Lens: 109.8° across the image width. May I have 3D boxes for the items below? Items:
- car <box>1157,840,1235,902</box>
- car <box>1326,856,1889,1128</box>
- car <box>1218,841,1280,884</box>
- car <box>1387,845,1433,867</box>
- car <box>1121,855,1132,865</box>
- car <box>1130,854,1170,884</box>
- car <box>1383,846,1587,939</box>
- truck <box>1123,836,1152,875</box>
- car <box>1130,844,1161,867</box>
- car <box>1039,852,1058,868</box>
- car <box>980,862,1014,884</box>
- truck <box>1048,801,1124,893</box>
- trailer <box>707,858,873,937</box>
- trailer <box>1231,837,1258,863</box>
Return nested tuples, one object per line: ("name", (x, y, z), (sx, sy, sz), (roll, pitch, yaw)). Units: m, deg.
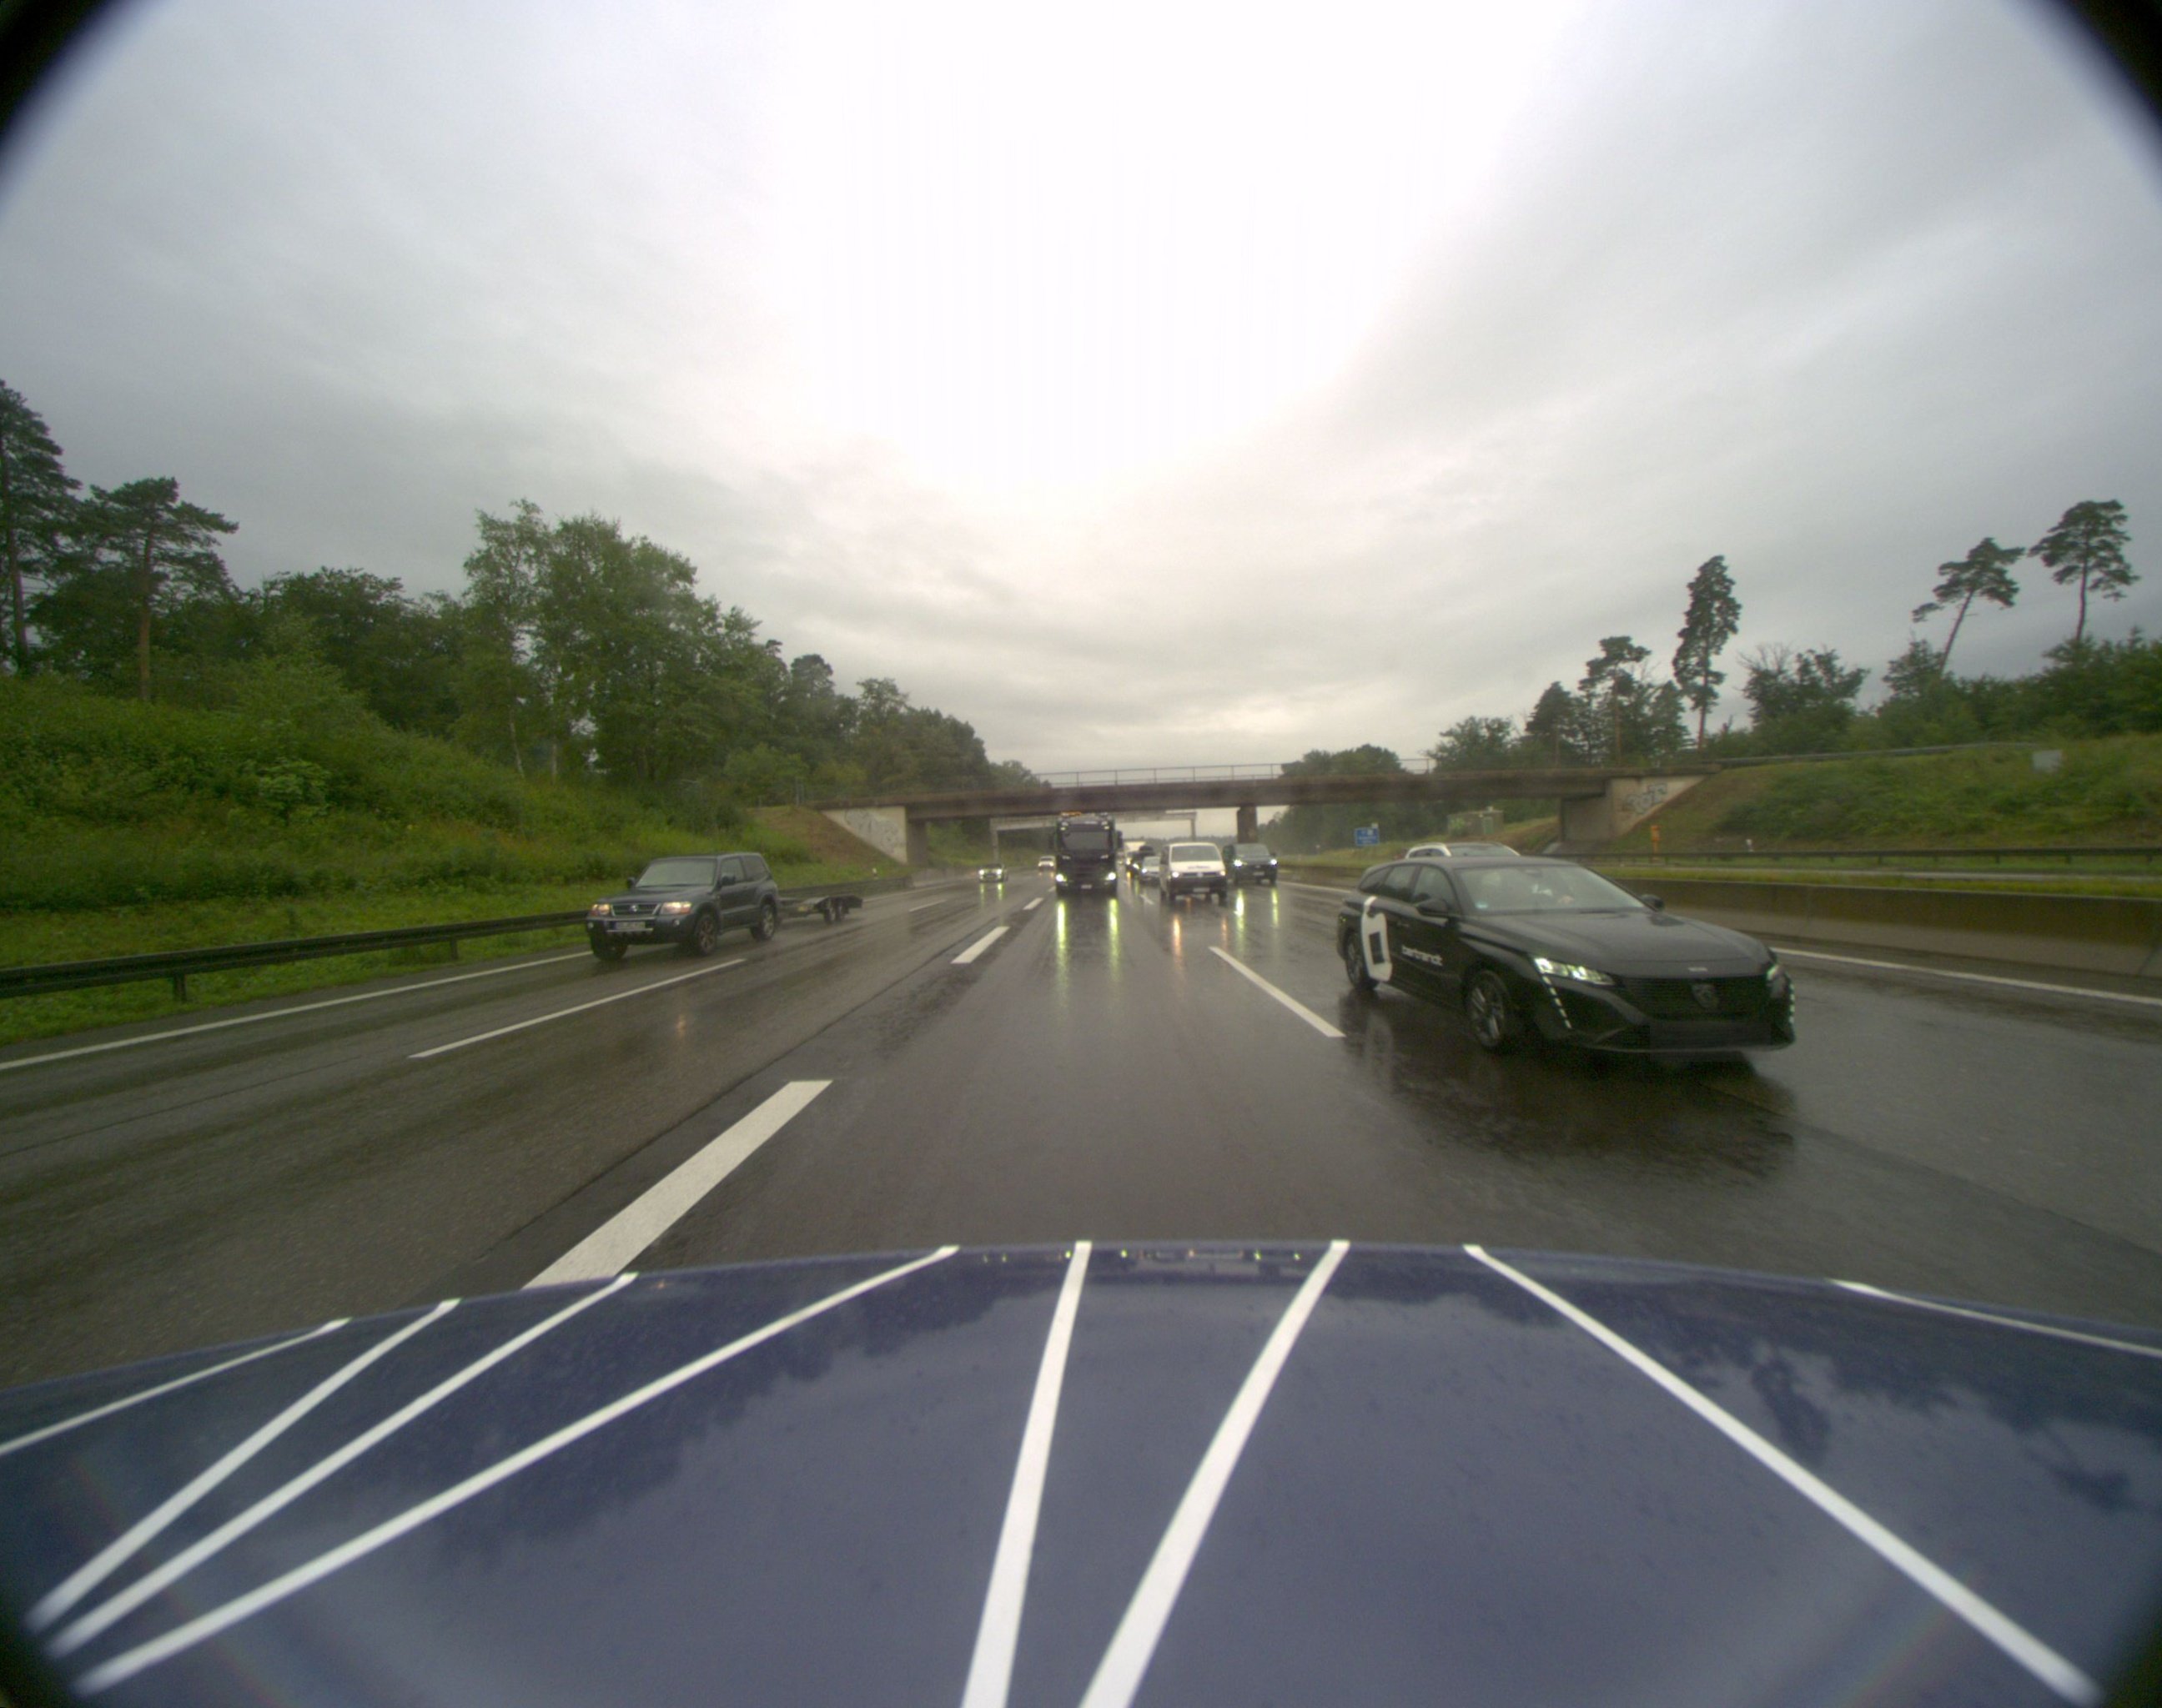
("car", (3.834, 0.538, 26.140), (1.995, 1.869, 4.767), (-2, 0, 1))
("car", (3.760, 0.808, 6.624), (1.850, 1.496, 4.466), (-2, 0, 1))
("car", (8.226, 0.366, 37.631), (1.996, 1.933, 5.242), (-2, 1, 2))
("car", (25.126, 0.138, 58.173), (1.850, 1.582, 3.944), (-2, 0, 1))
("car", (10.158, 1.324, 170.309), (1.999, 2.002, 3.999), (-2, 0, 0))
("car", (3.723, 0.780, 41.661), (1.850, 1.496, 4.466), (-2, 1, 1))
("car", (8.012, 0.669, 15.627), (1.850, 1.582, 4.466), (-2, 0, 1))
("truck", (6.035, 0.119, 81.955), (2.521, 3.941, 6.994), (-2, 0, 1))
("car", (4.724, 0.074, 56.245), (1.994, 1.551, 4.767), (-2, 0, 2))
("car", (-4.166, 0.758, 97.918), (1.994, 1.910, 4.767), (-2, 0, 2))
("car", (-6.087, 1.371, 55.476), (1.795, 1.399, 4.228), (-2, 0, 2))
("truck", (0.354, -0.345, 35.305), (2.879, 3.528, 10.910), (-2, 1, 2))
("trailer", (-7.398, 1.028, 20.066), (2.248, 1.704, 5.082), (-2, 0, 2))
("trailer", (31.730, -0.781, 148.122), (3.213, 4.785, 13.349), (-2, 0, 4))
